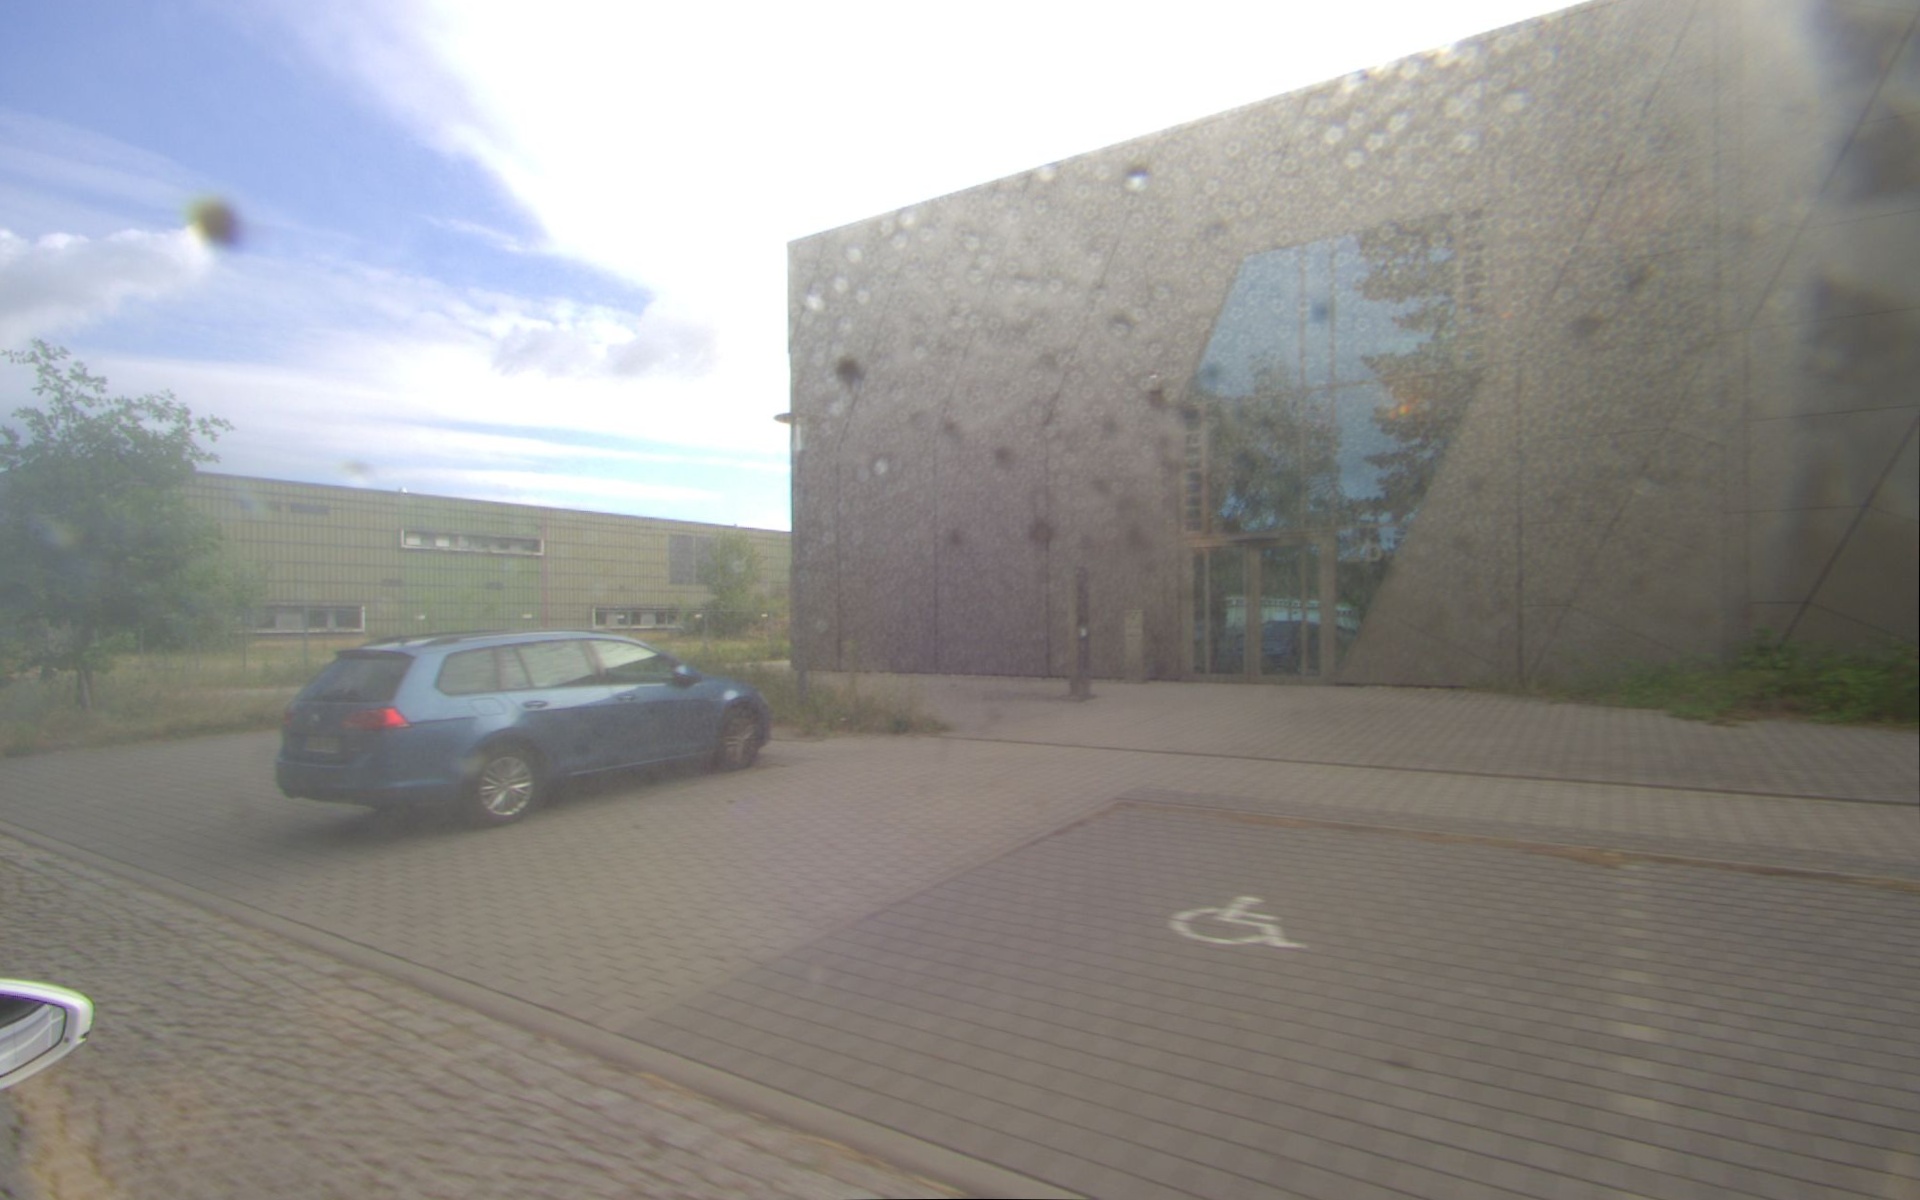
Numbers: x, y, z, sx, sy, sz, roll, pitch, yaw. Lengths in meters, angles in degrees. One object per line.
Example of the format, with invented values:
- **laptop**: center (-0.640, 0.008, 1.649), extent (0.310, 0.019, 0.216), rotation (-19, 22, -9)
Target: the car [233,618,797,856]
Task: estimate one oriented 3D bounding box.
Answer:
- **car**: center (-3.659, 0.977, 9.188), extent (1.796, 1.463, 4.514), rotation (-1, 1, 30)
